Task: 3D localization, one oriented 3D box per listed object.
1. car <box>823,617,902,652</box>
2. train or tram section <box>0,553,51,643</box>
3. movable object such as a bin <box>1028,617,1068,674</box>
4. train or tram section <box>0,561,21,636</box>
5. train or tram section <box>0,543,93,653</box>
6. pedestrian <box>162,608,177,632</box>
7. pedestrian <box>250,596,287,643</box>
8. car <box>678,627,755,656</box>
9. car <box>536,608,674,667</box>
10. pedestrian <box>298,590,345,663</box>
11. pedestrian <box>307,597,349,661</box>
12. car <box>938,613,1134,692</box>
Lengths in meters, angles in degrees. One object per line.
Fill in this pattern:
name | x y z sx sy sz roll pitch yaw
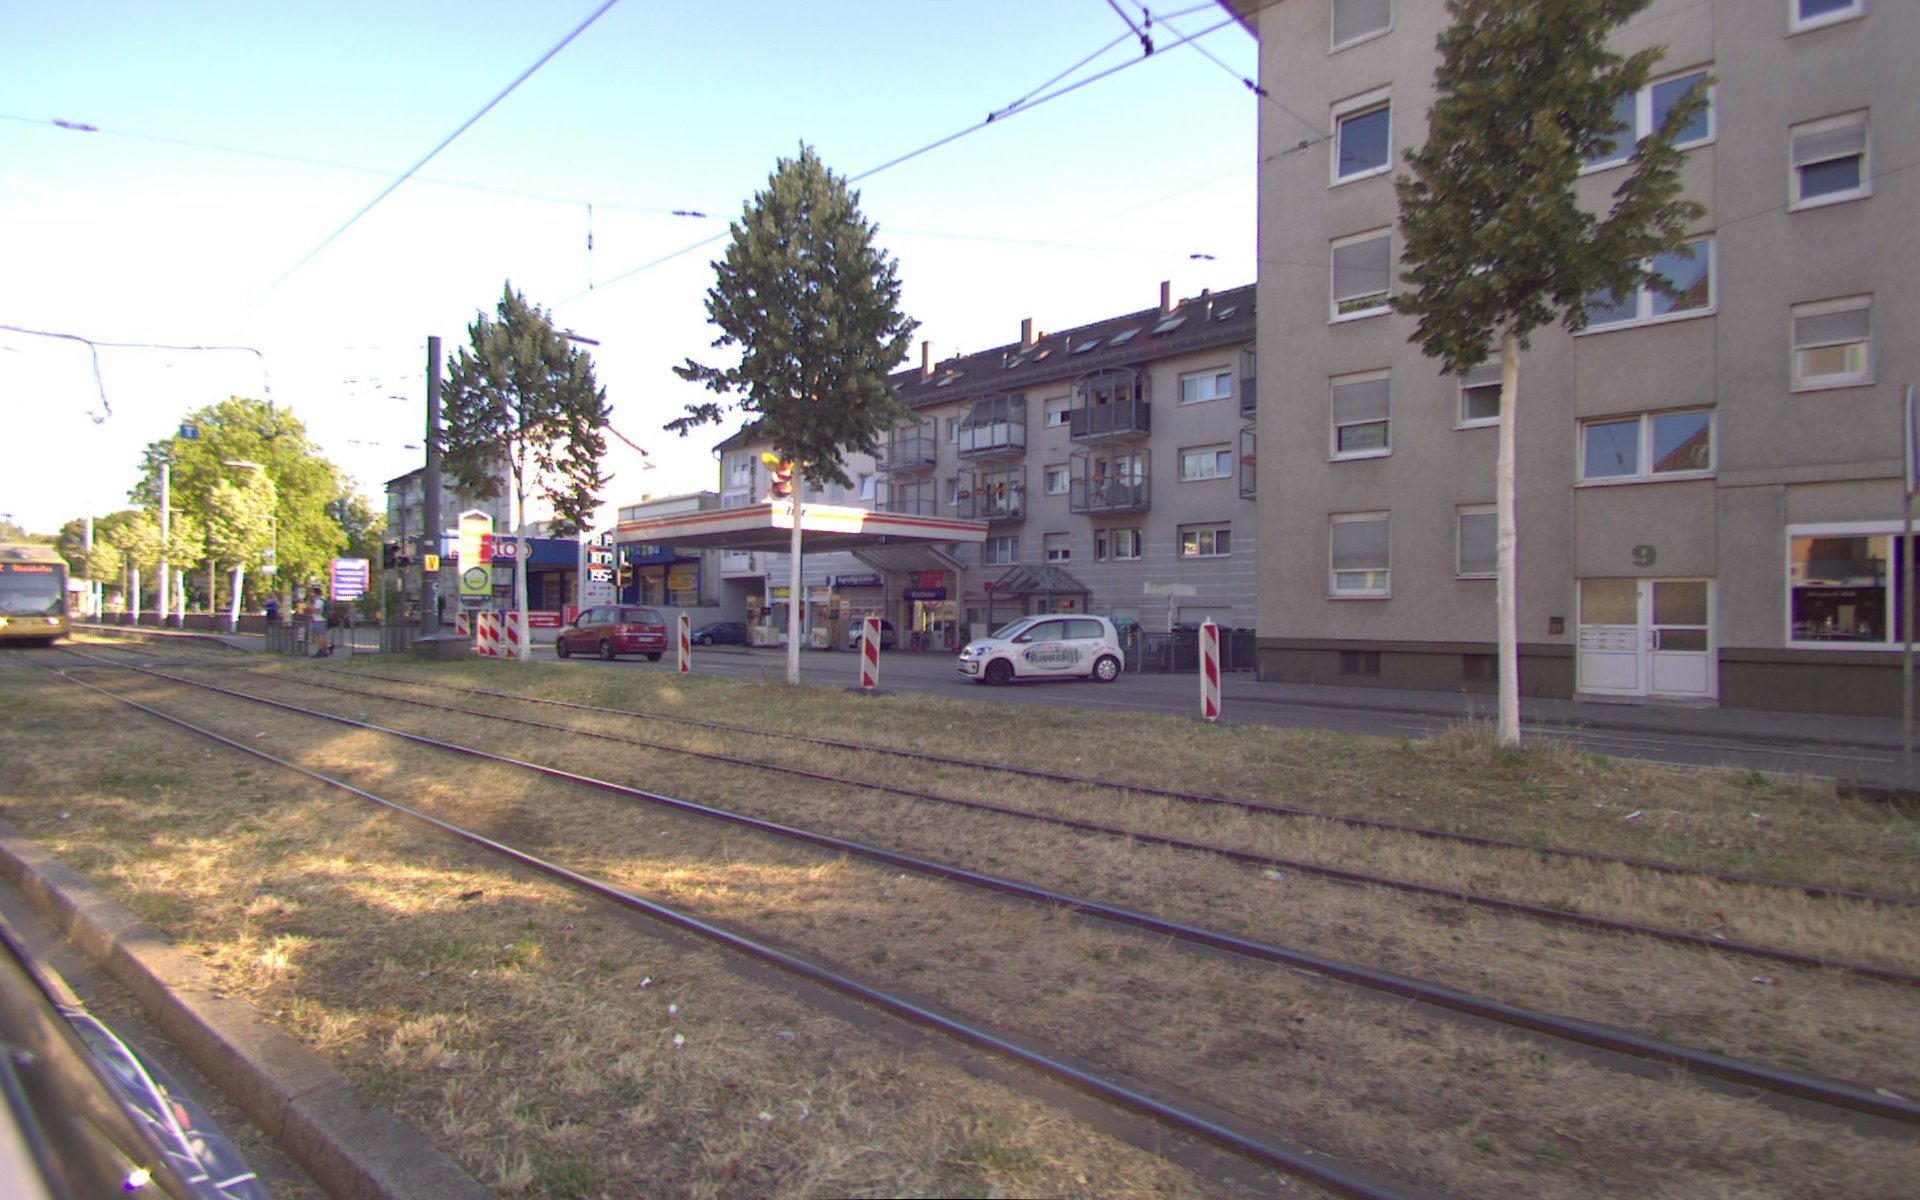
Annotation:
car | -4.740 1.626 48.705 1.791 1.535 3.831 -1 1 -44
train or tram section | -41.894 -0.088 43.512 10.094 3.544 3.003 0 -2 42
movable object such as a bin | 2.229 1.137 25.535 0.748 1.411 0.656 -1 -2 41
train or tram section | -49.405 -0.124 50.271 10.094 3.544 3.003 0 -2 42
train or tram section | -34.385 -0.047 36.750 10.094 3.544 3.003 0 -2 42
pedestrian | -63.200 1.577 80.928 1.000 1.896 0.745 -1 1 42
pedestrian | -25.243 0.706 36.947 0.926 1.666 0.924 -1 1 43
car | -13.446 2.273 55.927 3.750 1.535 1.819 2 -2 -44
car | -10.612 1.059 30.071 4.935 1.572 1.792 0 -2 44
pedestrian | -17.448 0.714 27.661 0.755 1.947 0.849 -1 -2 40
pedestrian | -17.827 0.810 28.561 0.860 1.760 0.745 -1 -2 40
car | 1.597 1.080 21.790 3.764 1.523 1.823 -1 -1 -16
